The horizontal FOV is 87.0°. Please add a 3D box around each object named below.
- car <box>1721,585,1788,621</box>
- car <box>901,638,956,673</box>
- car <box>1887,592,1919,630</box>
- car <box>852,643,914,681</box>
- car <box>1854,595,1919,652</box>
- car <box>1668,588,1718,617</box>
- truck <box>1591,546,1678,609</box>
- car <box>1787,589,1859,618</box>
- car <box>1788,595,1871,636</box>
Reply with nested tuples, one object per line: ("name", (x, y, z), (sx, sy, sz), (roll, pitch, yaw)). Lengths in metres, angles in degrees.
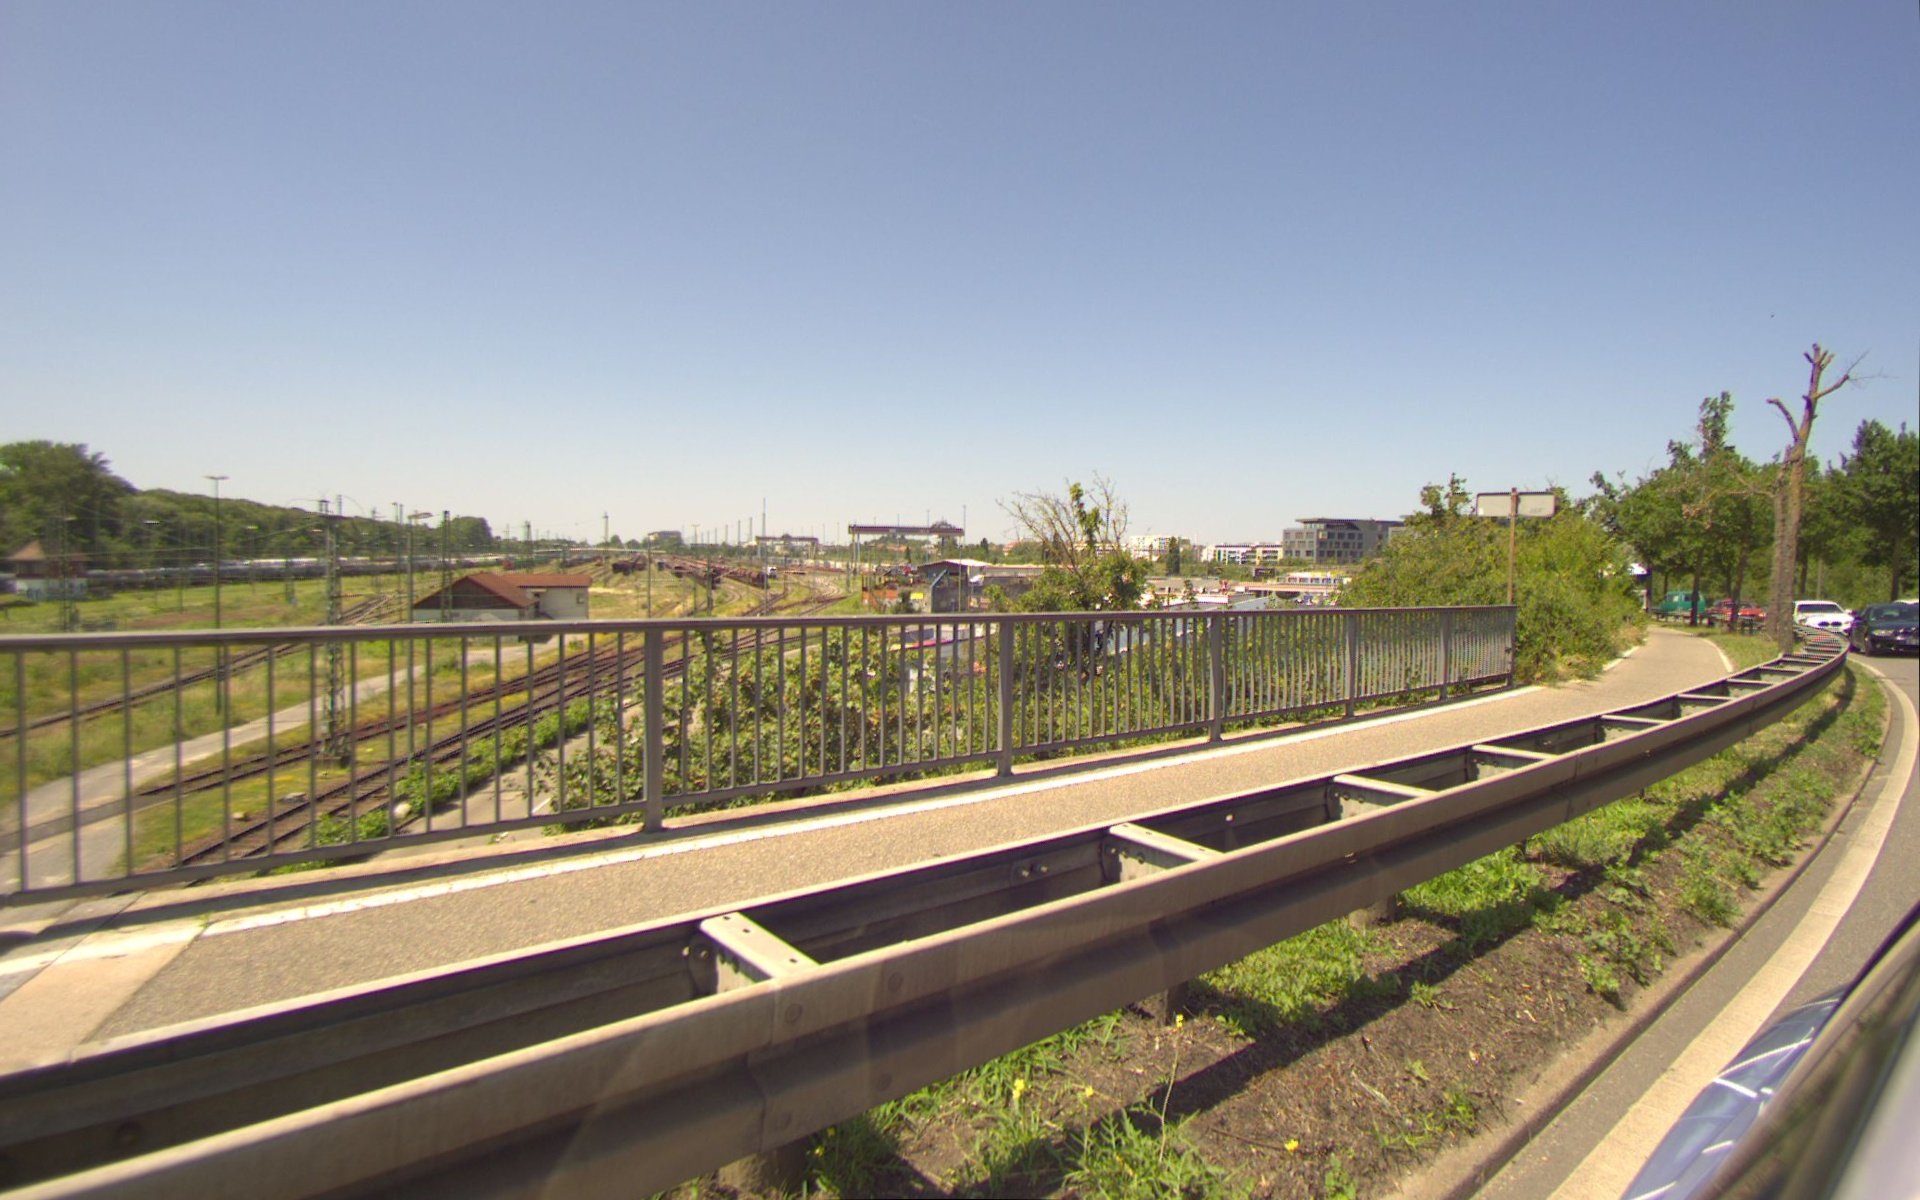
("car", (40.722, 0.135, 51.973), (1.883, 1.675, 4.220), (0, 2, 27))
("car", (-2.383, 4.248, 78.151), (2.130, 2.382, 4.885), (-5, -3, 25))
("car", (38.303, 0.427, 39.684), (1.690, 1.465, 4.417), (-1, 0, 27))
("car", (-5.426, 4.370, 71.956), (2.130, 2.382, 4.884), (-5, -3, 26))
("car", (25.380, 0.578, 27.075), (1.559, 1.434, 4.074), (0, 0, 32))
("car", (52.712, 0.157, 72.849), (1.814, 1.963, 4.741), (0, 0, 22))
("truck", (49.451, -1.590, 74.519), (2.820, 4.323, 8.769), (0, 0, 16))
("car", (46.154, 0.157, 54.234), (1.834, 1.486, 4.697), (0, 0, 27))
("car", (32.431, 0.540, 37.844), (1.804, 1.446, 3.672), (0, 0, 33))
